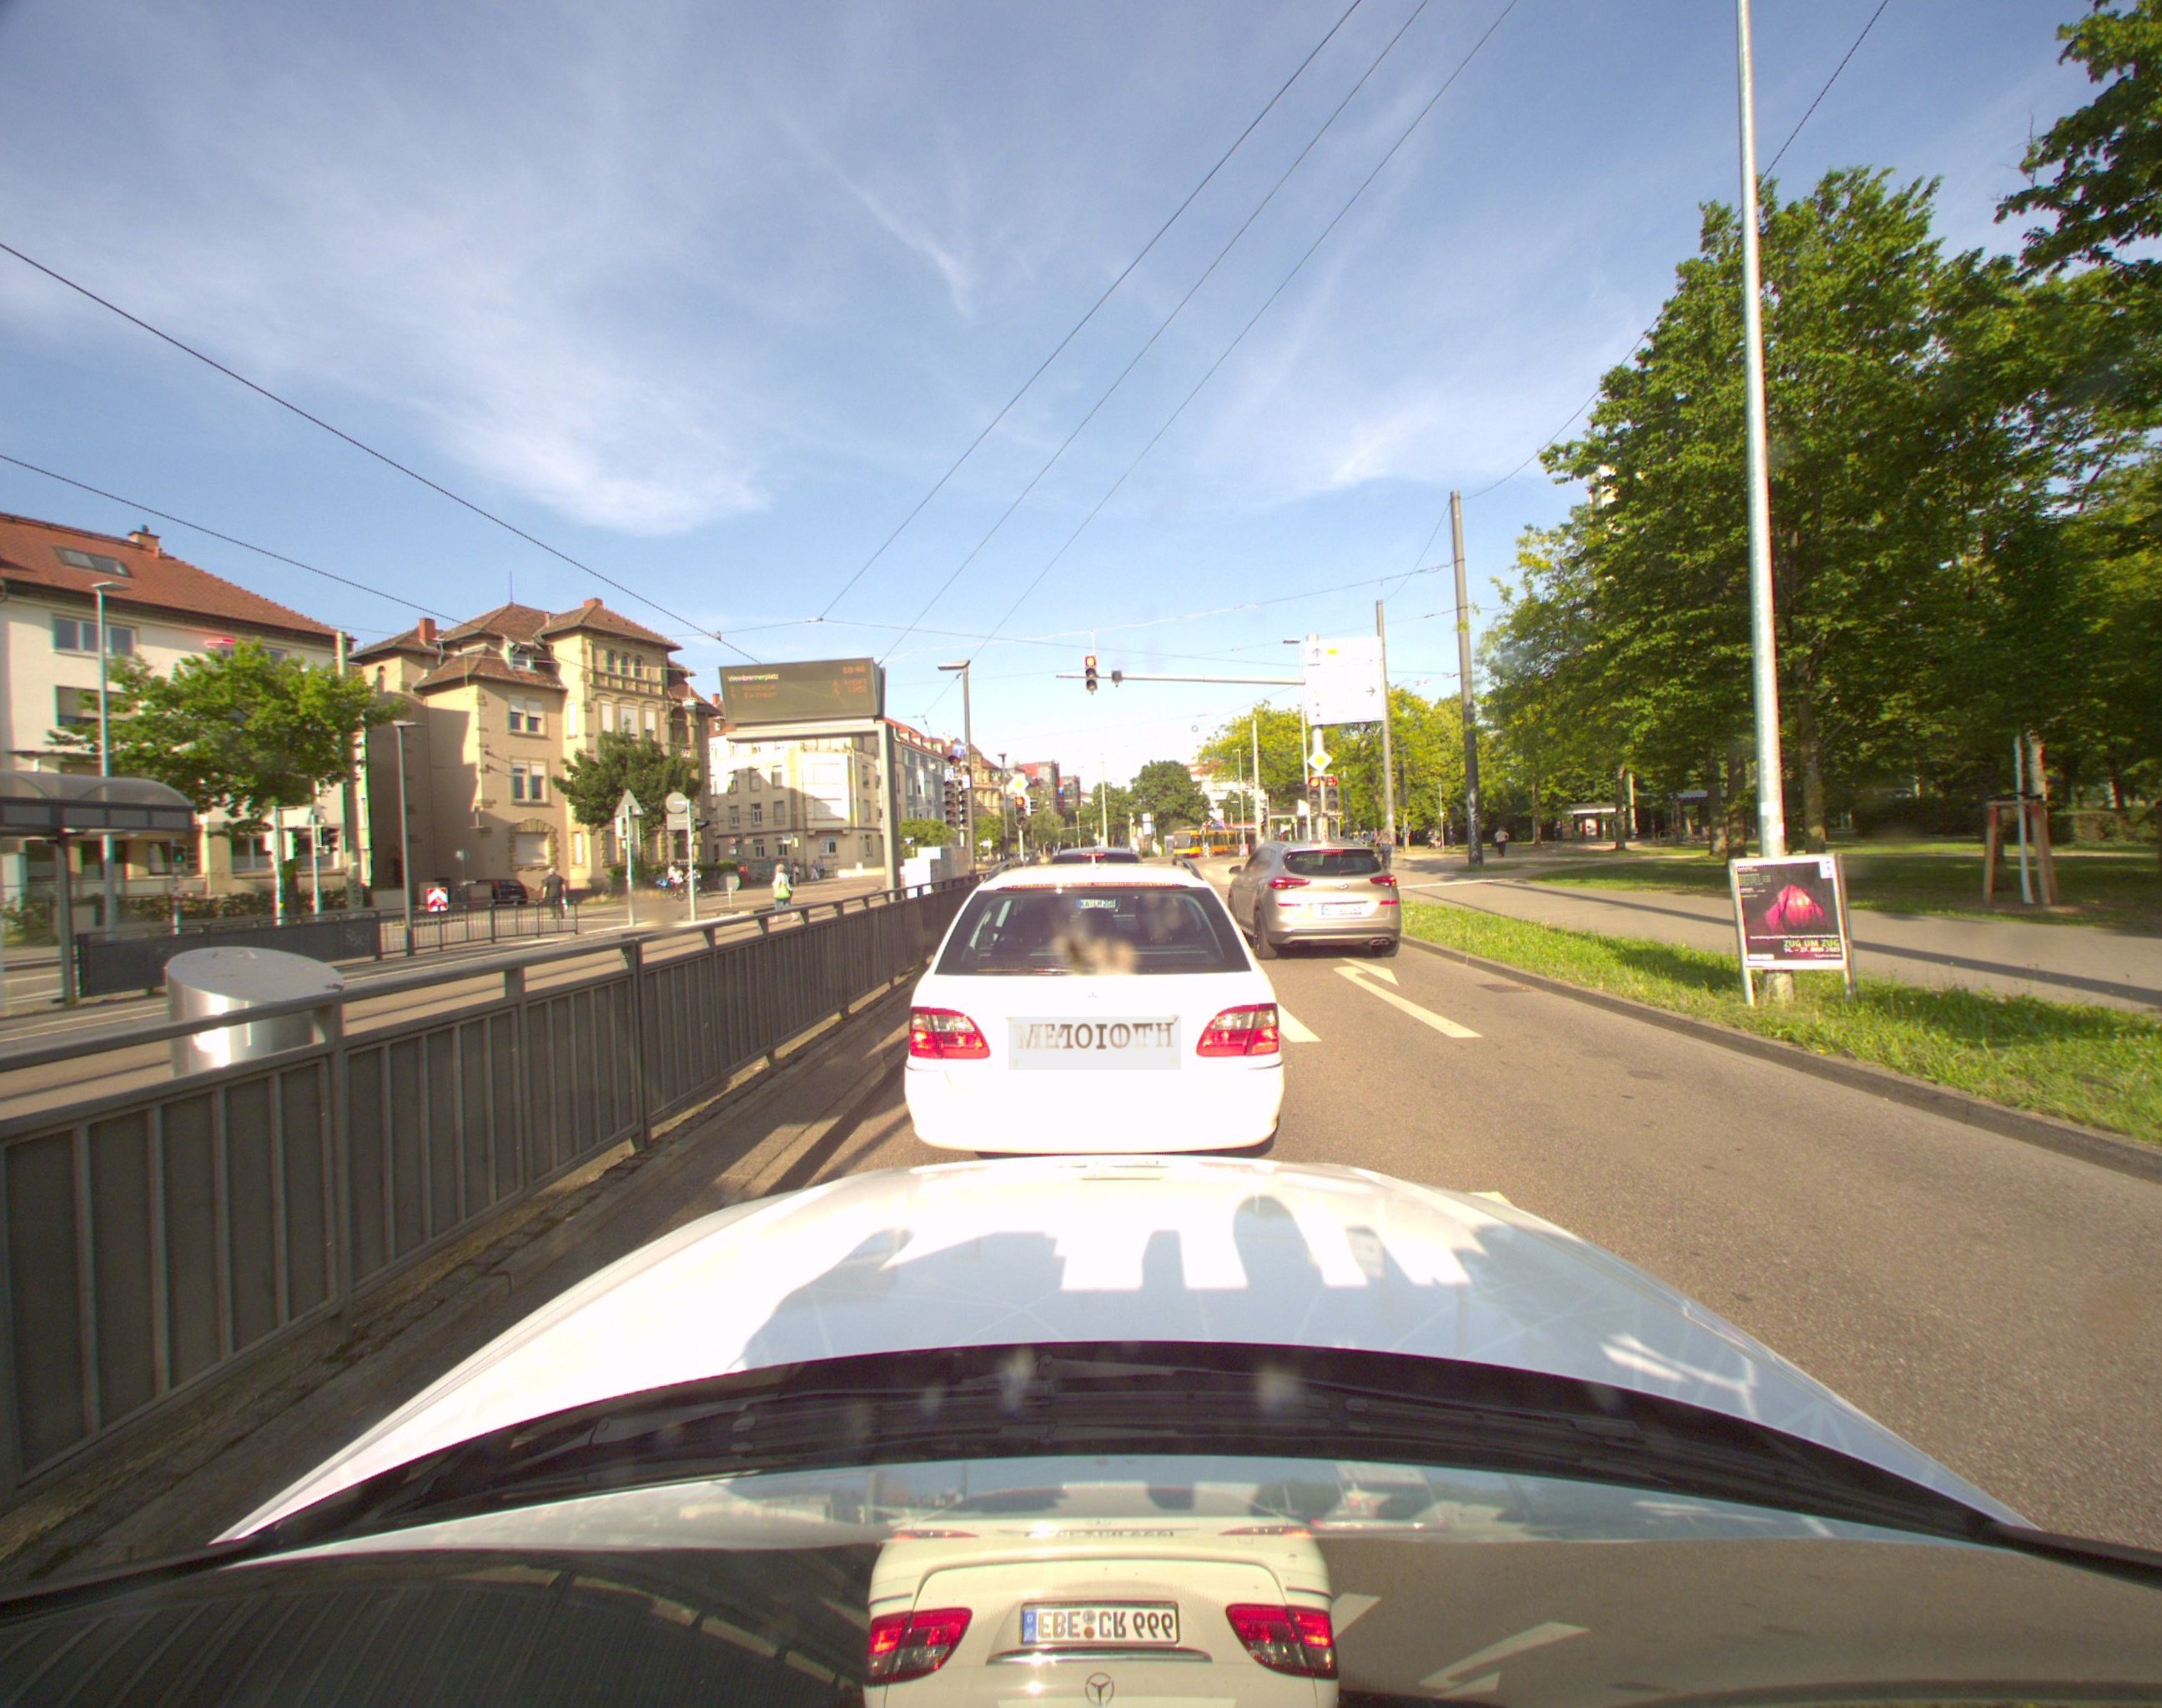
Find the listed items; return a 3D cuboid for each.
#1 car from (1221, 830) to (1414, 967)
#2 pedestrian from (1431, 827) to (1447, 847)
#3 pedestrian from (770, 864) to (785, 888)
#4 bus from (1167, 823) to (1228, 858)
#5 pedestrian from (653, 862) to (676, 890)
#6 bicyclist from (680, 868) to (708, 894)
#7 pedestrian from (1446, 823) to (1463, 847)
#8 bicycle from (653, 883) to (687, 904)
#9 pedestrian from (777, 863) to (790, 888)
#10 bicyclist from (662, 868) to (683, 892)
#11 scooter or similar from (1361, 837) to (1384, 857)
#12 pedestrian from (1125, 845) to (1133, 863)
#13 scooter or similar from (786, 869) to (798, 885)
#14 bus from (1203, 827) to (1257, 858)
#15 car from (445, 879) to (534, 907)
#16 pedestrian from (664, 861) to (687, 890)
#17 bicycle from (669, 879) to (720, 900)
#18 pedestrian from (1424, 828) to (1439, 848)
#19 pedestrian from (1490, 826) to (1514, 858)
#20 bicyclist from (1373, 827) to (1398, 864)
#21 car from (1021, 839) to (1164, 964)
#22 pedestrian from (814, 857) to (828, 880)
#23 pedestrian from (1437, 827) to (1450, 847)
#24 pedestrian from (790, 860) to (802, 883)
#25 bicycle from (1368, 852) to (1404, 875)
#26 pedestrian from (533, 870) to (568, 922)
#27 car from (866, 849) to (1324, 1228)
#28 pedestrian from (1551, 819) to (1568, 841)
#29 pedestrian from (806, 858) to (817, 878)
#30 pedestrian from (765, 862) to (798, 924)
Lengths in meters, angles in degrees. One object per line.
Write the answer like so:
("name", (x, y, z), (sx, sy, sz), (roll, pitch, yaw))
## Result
("car", (3.336, 0.566, 12.227), (1.878, 1.651, 3.649), (-3, 0, 2))
("pedestrian", (28.100, -1.322, 63.886), (0.813, 1.487, 0.698), (-3, 0, -9))
("pedestrian", (-20.353, 1.459, 54.674), (0.626, 1.541, 0.711), (-3, 0, 1))
("bus", (13.302, -1.407, 91.592), (3.080, 3.606, 12.447), (-1, -1, 26))
("pedestrian", (-23.731, 1.241, 46.401), (0.822, 1.552, 0.786), (-3, 0, 23))
("bicyclist", (-20.245, 1.423, 42.630), (0.758, 1.262, 1.178), (-3, 0, 10))
("pedestrian", (29.116, -1.476, 63.507), (0.797, 1.785, 0.838), (-3, 0, -2))
("bicycle", (-18.847, 1.816, 37.413), (0.523, 0.834, 1.689), (-3, 0, 6))
("pedestrian", (-19.552, 1.395, 53.486), (0.505, 1.626, 0.609), (-3, 0, 6))
("bicyclist", (-18.855, 1.201, 37.577), (0.510, 1.044, 0.681), (-3, 0, 6))
("scooter or similar", (16.187, -0.383, 45.274), (0.421, 1.117, 1.322), (-3, 0, -18))
("pedestrian", (5.124, -0.037, 86.960), (0.638, 1.857, 0.554), (-3, 0, 13))
("scooter or similar", (-19.229, 1.512, 54.167), (0.541, 1.079, 0.683), (-1, -1, 1))
("bus", (19.005, -1.370, 102.878), (3.079, 3.606, 12.666), (-1, -1, 27))
("car", (-29.456, 1.909, 40.566), (4.066, 1.310, 1.774), (-1, -1, 24))
("pedestrian", (-22.908, 1.196, 46.002), (0.822, 1.552, 0.786), (-3, 0, 23))
("bicycle", (-20.215, 1.828, 42.694), (0.779, 0.914, 3.006), (-3, 0, 10))
("pedestrian", (27.252, -1.240, 63.298), (0.820, 1.487, 0.692), (-3, 0, -40))
("pedestrian", (22.308, -0.643, 43.127), (0.758, 1.636, 0.800), (-3, 0, -38))
("bicyclist", (10.817, -0.307, 28.939), (0.532, 1.262, 0.869), (-3, 0, 2))
("car", (0.215, 0.624, 12.656), (1.878, 1.651, 3.649), (0, 0, 2))
("pedestrian", (-22.738, 1.260, 71.286), (0.768, 2.013, 0.790), (-3, 0, 17))
("pedestrian", (27.765, -1.302, 62.381), (0.805, 1.487, 0.705), (-3, 0, 26))
("pedestrian", (-18.703, 1.136, 53.370), (0.434, 1.500, 0.551), (-3, 0, 16))
("bicycle", (10.845, 0.335, 29.024), (0.493, 0.757, 2.169), (-4, 0, 2))
("pedestrian", (-17.405, 1.360, 26.728), (0.798, 1.645, 0.748), (-3, 0, -42))
("car", (0.105, 0.726, 5.053), (1.789, 1.470, 3.649), (-1, 0, 1))
("pedestrian", (36.704, -1.855, 62.517), (0.831, 1.636, 0.804), (-3, 0, 8))
("pedestrian", (-23.292, 1.218, 70.423), (0.615, 1.660, 0.589), (-3, 0, 17))
("pedestrian", (-8.038, 1.034, 21.882), (0.611, 1.599, 0.632), (-3, 0, -5))
